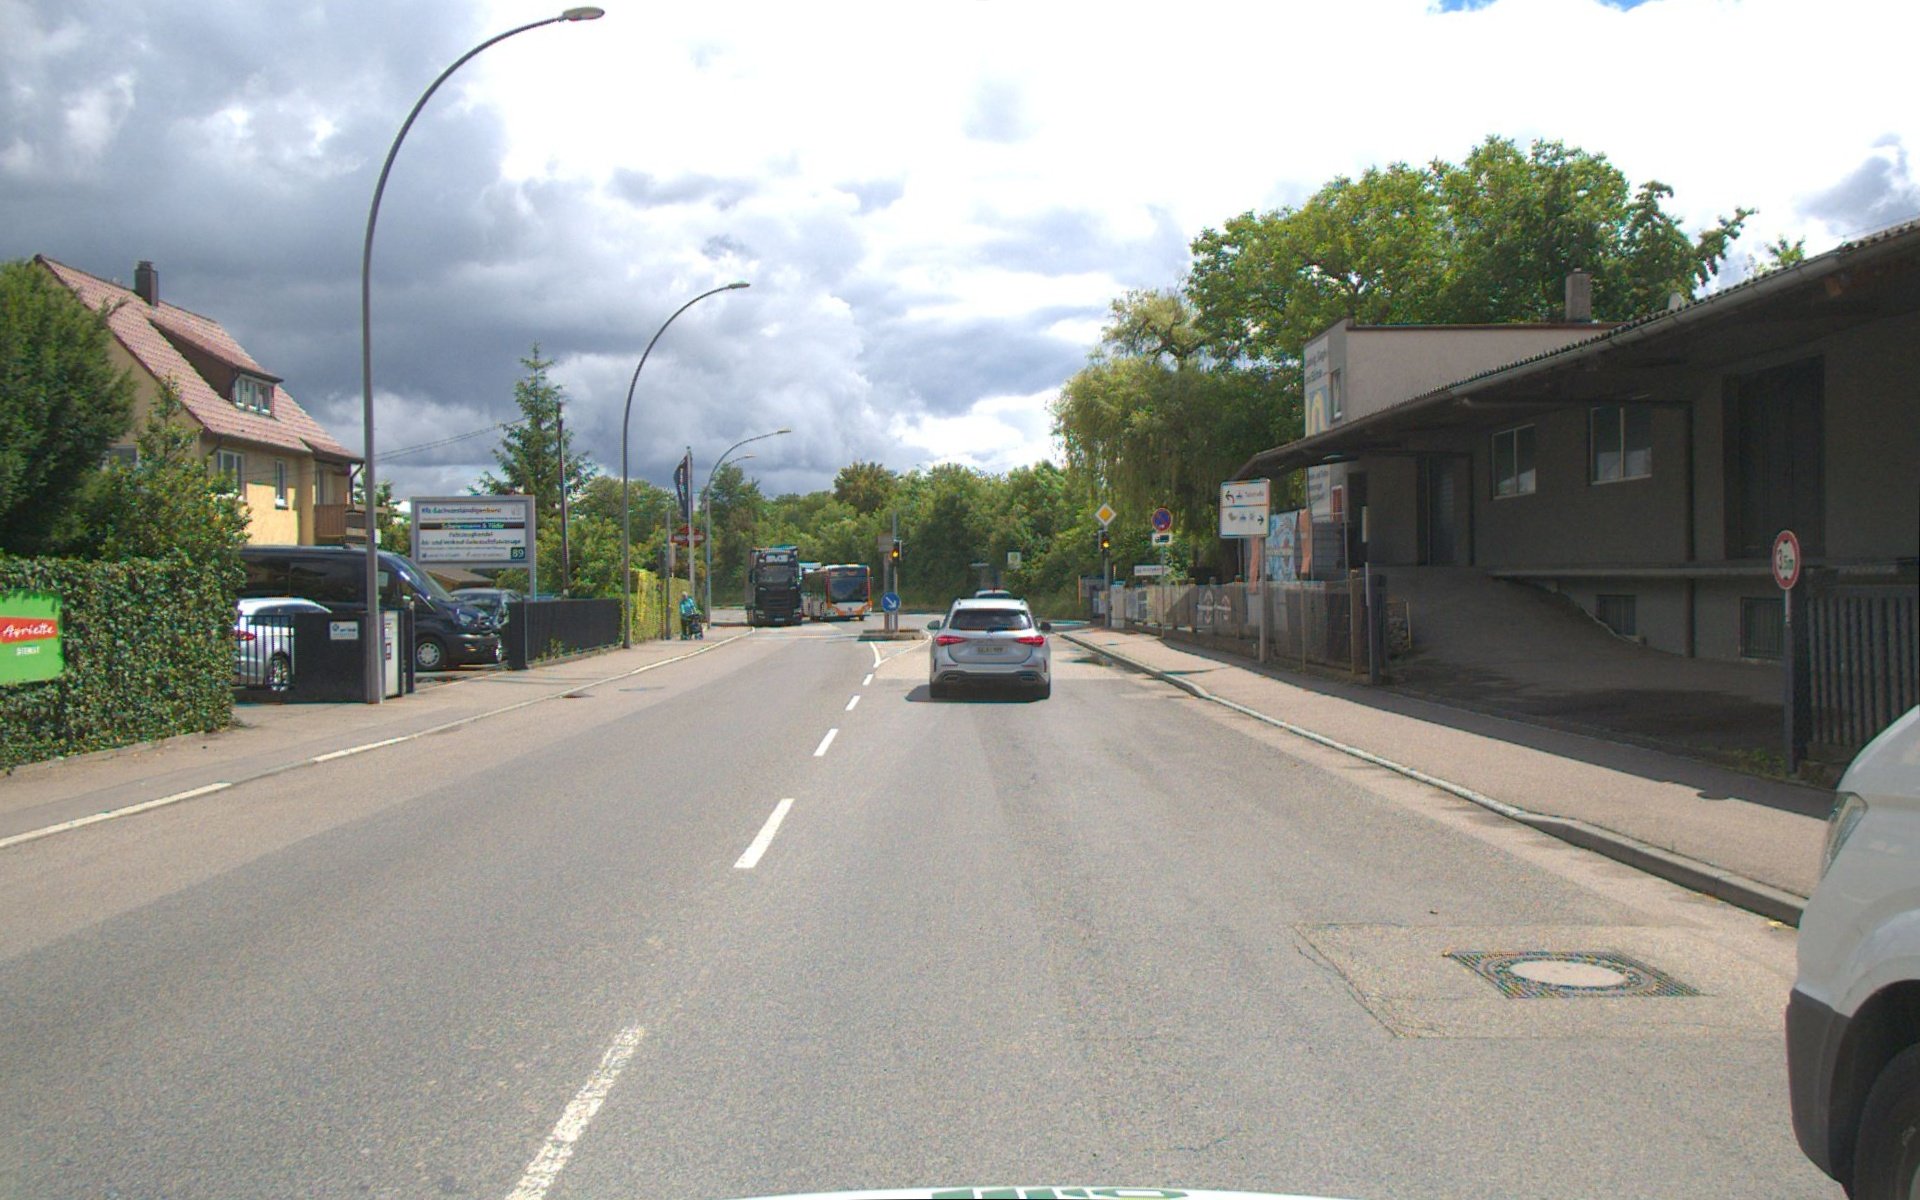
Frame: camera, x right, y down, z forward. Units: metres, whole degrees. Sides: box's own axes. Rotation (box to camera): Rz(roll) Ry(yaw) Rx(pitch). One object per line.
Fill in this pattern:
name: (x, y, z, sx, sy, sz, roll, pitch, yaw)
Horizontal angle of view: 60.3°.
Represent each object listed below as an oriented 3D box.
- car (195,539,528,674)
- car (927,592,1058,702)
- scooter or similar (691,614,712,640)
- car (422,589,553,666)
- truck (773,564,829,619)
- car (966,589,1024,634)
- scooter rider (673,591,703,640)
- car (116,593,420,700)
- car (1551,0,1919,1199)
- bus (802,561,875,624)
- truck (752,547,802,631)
car: (-12.235, 0.126, 34.159, 5.914, 2.540, 2.477, -1, 0, -1)
car: (0.522, 0.660, 25.418, 1.845, 1.535, 4.001, -1, 0, 2)
scooter or similar: (-8.595, 0.902, 54.948, 0.599, 0.846, 0.659, 1, 0, -1)
car: (-10.806, 0.583, 38.153, 1.991, 1.623, 4.281, -1, 0, -4)
truck: (-11.177, -0.551, 115.183, 2.790, 3.602, 9.695, -1, 0, -12)
car: (1.252, 0.399, 59.971, 1.847, 1.535, 3.998, -1, 0, -2)
scooter rider: (-9.099, 0.503, 55.349, 0.860, 1.617, 0.796, -1, 0, -1)
car: (-10.963, 0.676, 26.752, 1.951, 1.512, 5.345, -1, 0, 10)
car: (2.929, 0.020, 1.431, 2.170, 2.736, 6.655, -2, 0, -2)
bus: (-7.206, -0.412, 96.527, 2.728, 3.323, 12.090, -2, 0, -11)
truck: (-9.772, -0.545, 87.756, 2.383, 4.203, 9.134, 1, 0, -8)
